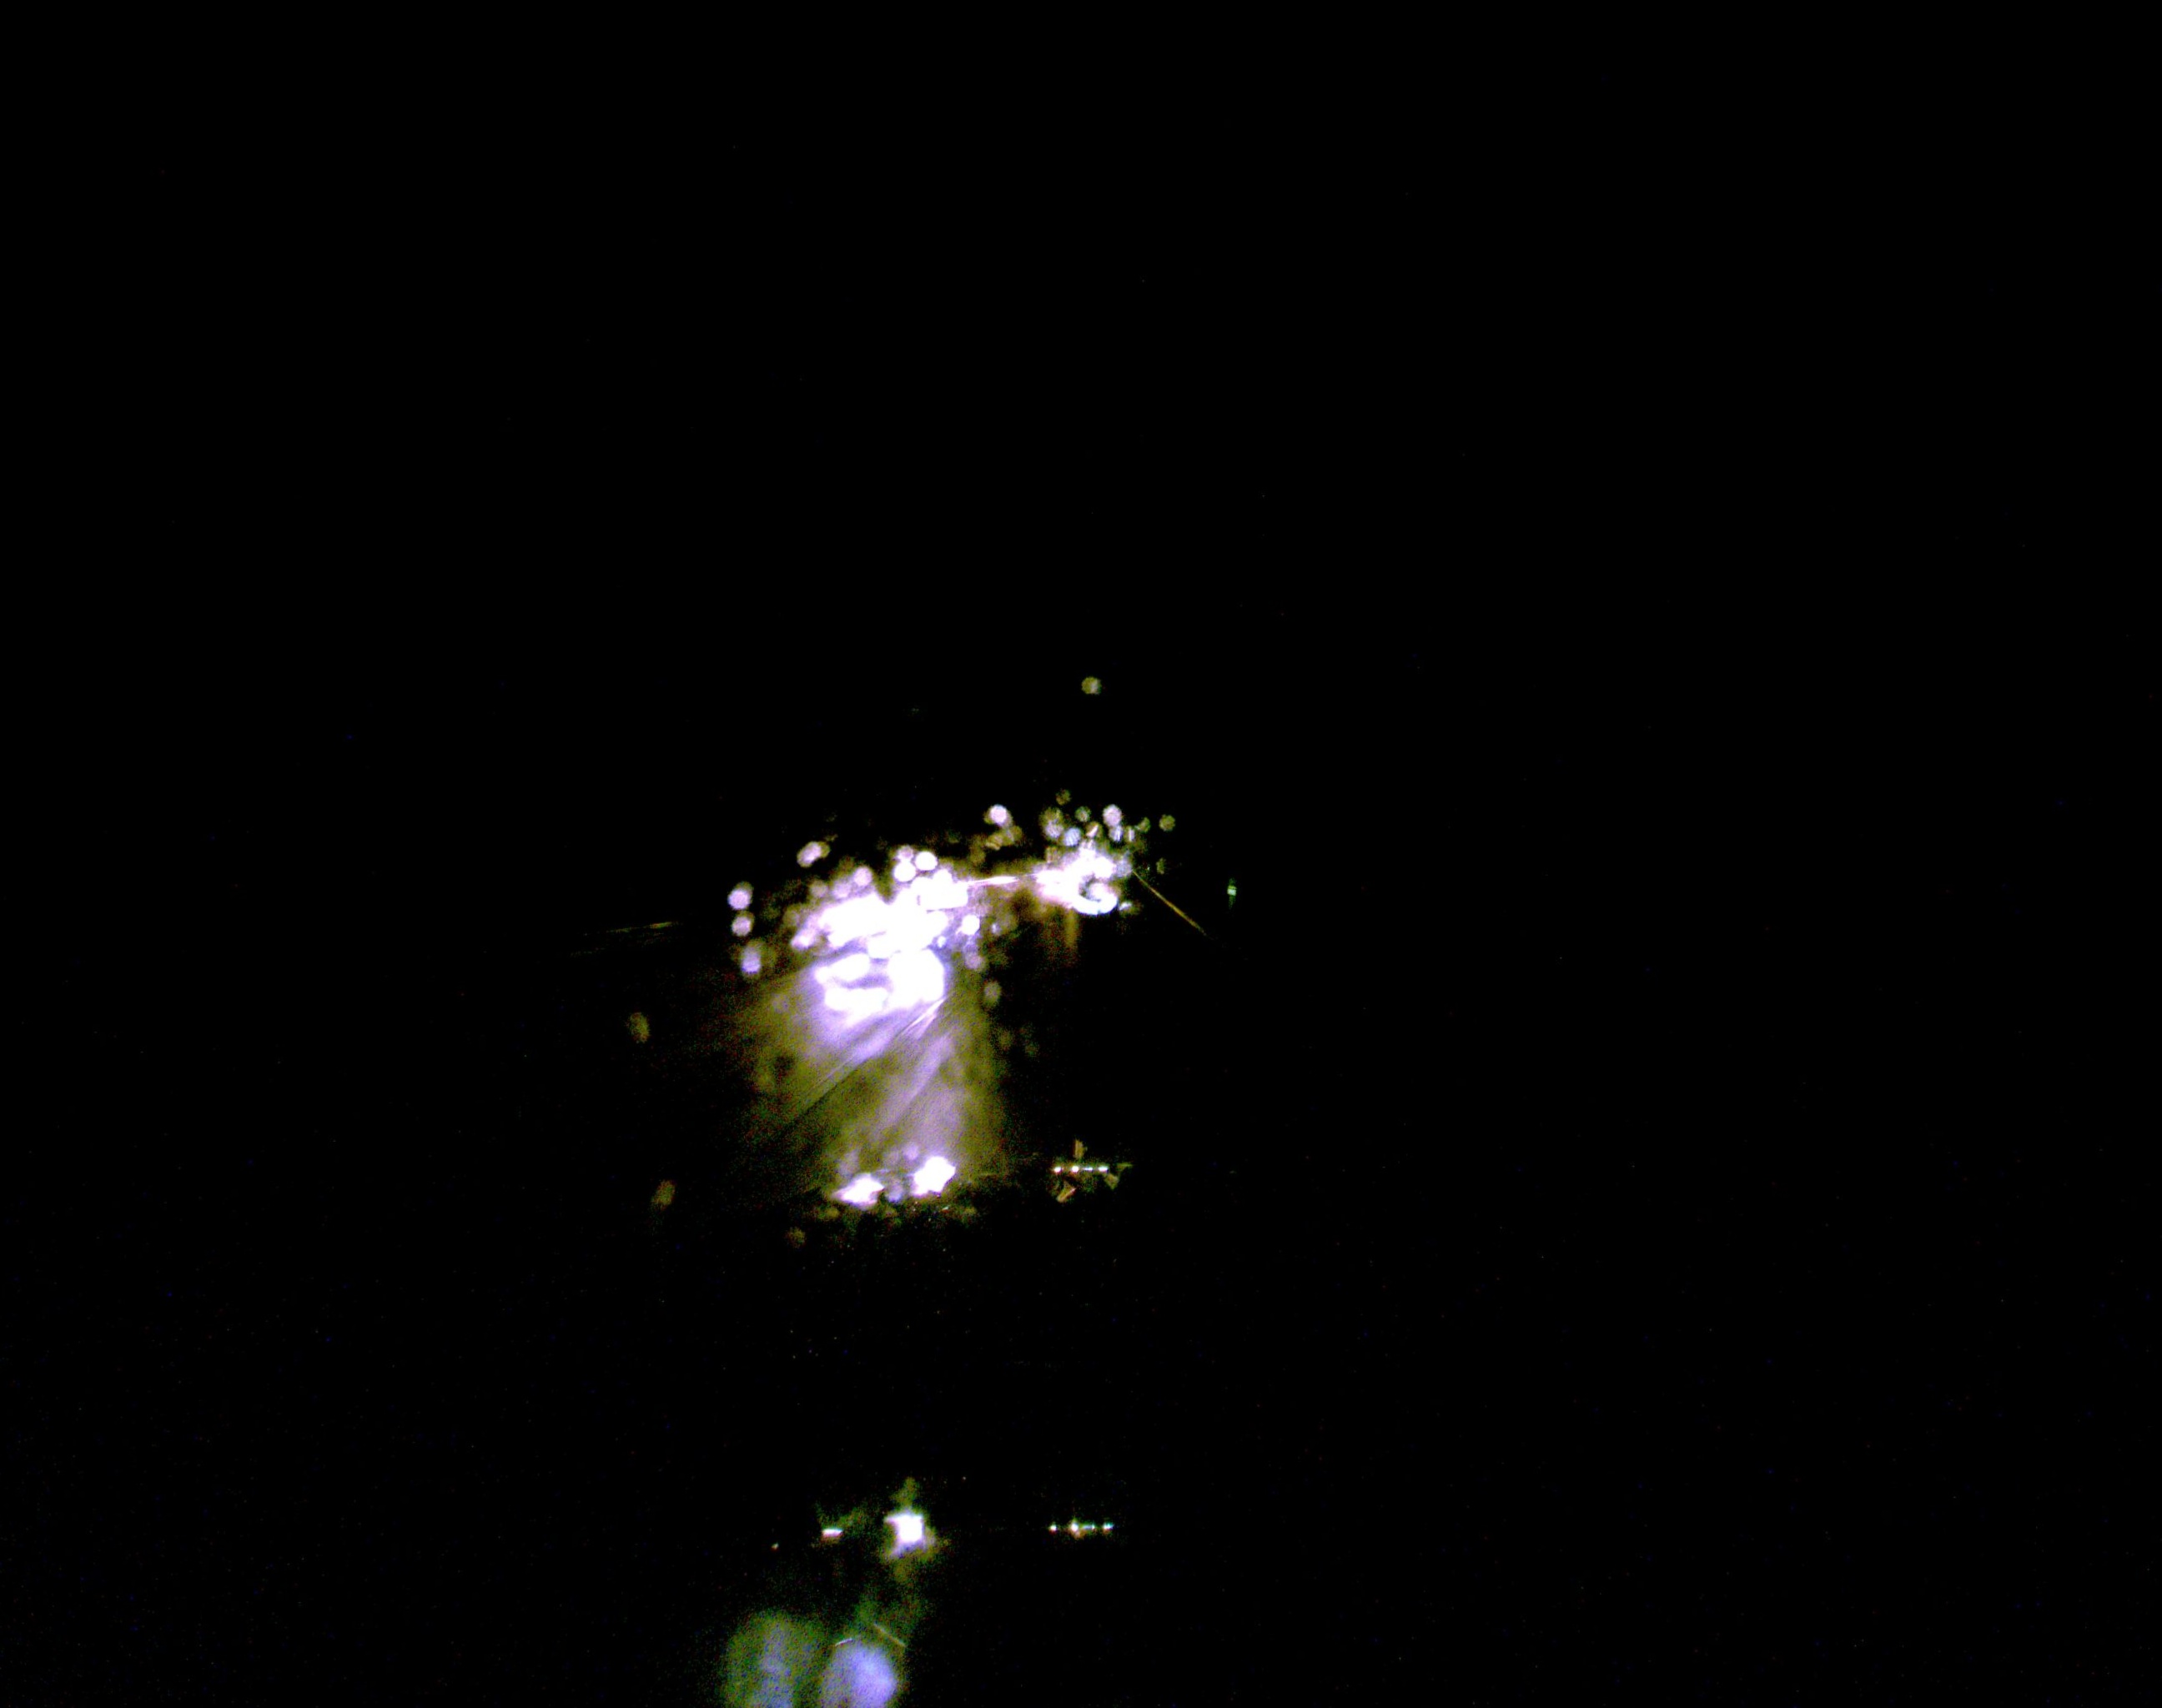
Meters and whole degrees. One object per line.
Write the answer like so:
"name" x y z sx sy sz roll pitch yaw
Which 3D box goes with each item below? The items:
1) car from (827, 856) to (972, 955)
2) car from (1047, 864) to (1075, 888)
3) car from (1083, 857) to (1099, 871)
"car" -3.239 0.852 15.338 1.710 1.517 3.878 -4 0 1
"car" -1.371 1.461 56.085 1.710 1.470 3.708 -3 0 1
"car" 1.316 1.254 102.600 1.821 1.456 3.795 -3 1 2
